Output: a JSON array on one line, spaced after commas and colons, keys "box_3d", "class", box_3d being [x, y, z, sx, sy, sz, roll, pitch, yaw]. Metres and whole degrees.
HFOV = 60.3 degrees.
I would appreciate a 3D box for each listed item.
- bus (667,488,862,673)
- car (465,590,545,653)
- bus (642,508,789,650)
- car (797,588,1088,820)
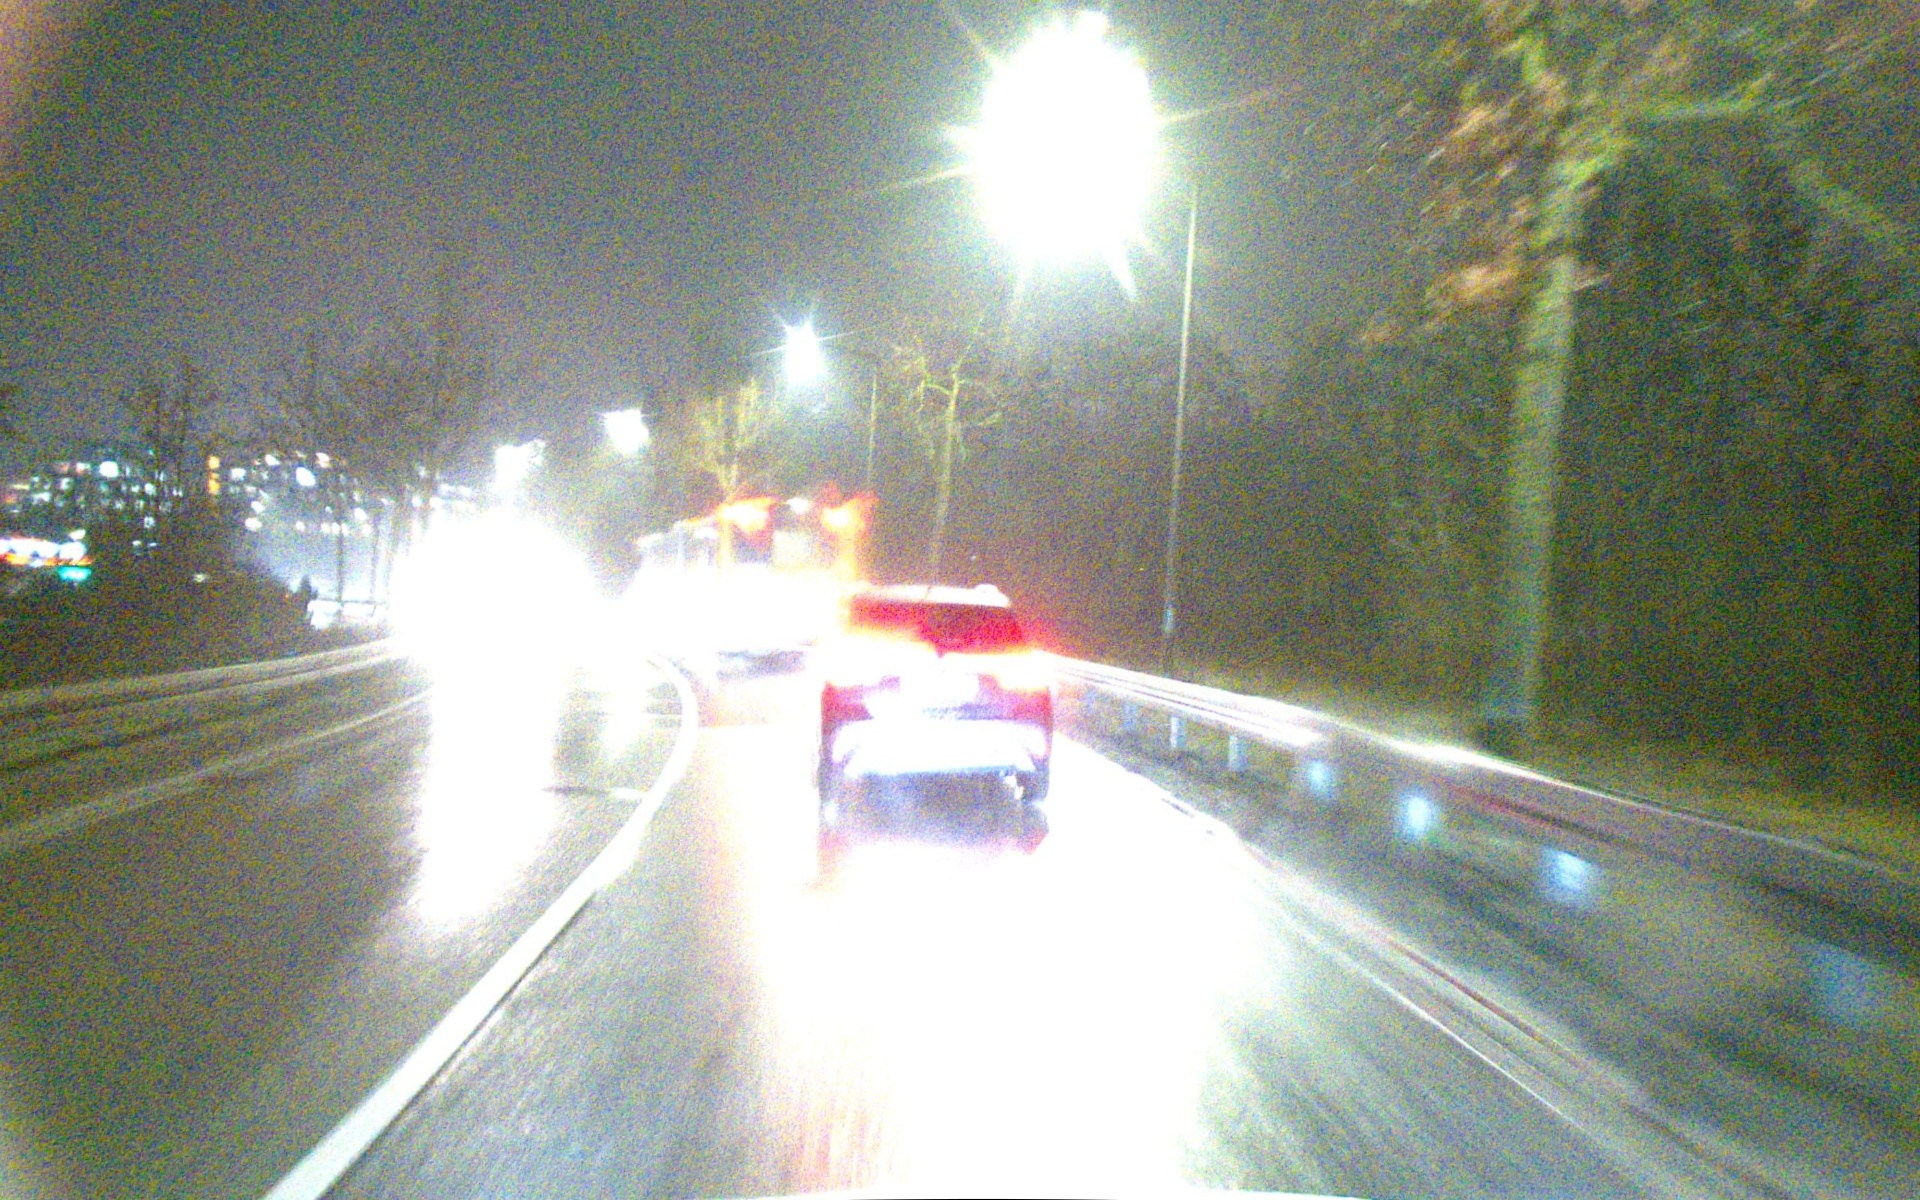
[{"box_3d": [-4.249, -0.375, 33.932, 2.991, 3.268, 9.019, 0, 0, -13], "class": "bus"}, {"box_3d": [-15.693, 0.676, 56.805, 2.411, 2.022, 5.466, 0, 1, -18], "class": "car"}, {"box_3d": [-6.496, -0.515, 42.696, 2.991, 3.268, 9.019, 0, 0, -13], "class": "bus"}, {"box_3d": [-0.255, 0.692, 13.170, 1.954, 1.551, 3.997, 1, 0, -4], "class": "car"}]
